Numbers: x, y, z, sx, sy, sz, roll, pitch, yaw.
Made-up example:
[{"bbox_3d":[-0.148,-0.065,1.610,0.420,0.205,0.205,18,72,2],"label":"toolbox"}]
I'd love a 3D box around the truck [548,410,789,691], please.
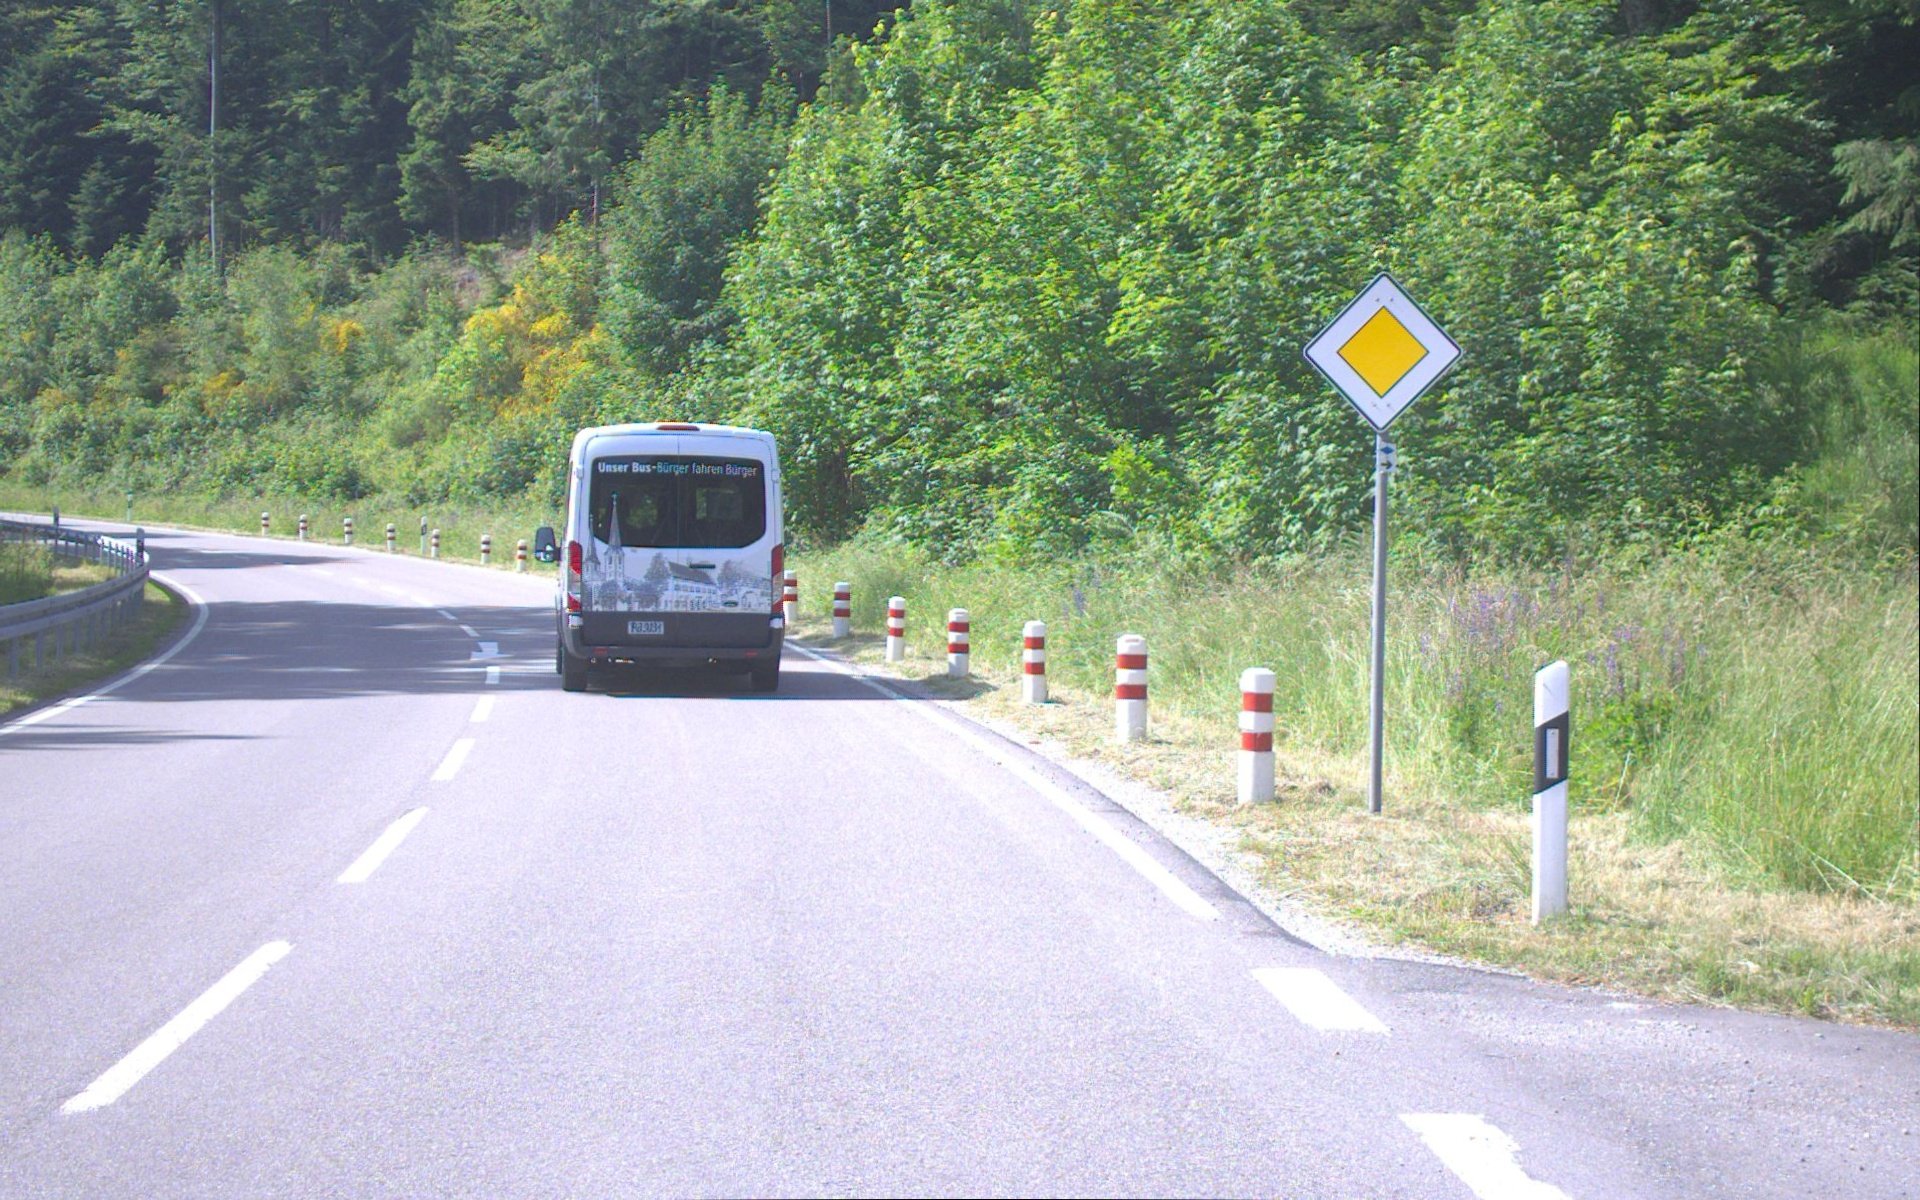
[{"bbox_3d":[-2.905,-0.524,33.229,2.115,2.489,5.361,0,2,-7],"label":"truck"}]
